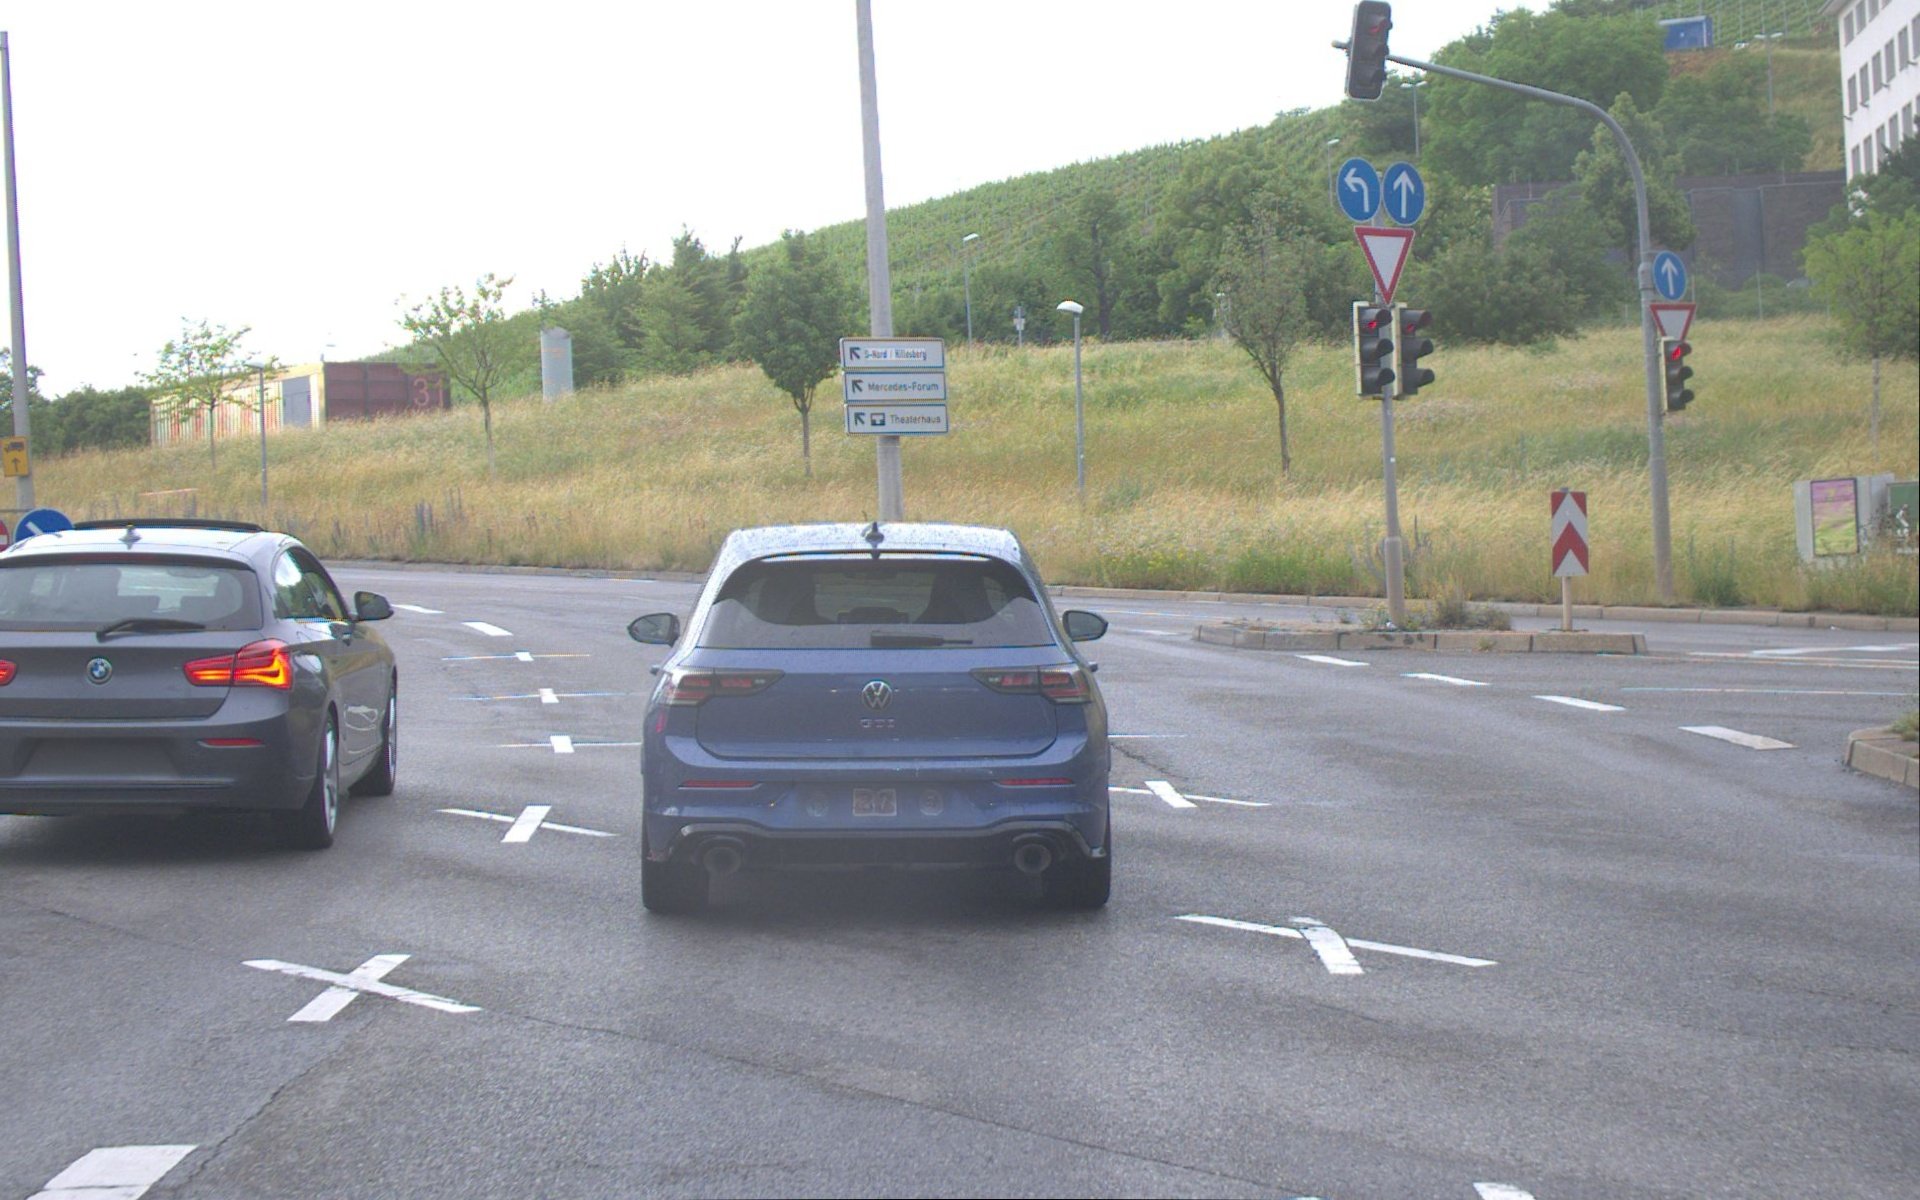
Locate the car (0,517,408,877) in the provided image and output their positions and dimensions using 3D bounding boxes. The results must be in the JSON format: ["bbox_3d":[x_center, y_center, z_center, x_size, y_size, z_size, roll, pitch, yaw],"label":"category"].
[{"bbox_3d":[-3.775,0.359,16.263,1.869,1.456,3.977,-1,2,-3],"label":"car"}]

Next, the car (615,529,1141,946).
[{"bbox_3d":[-0.395,0.439,14.060,1.838,1.389,4.001,0,2,-3],"label":"car"}]
